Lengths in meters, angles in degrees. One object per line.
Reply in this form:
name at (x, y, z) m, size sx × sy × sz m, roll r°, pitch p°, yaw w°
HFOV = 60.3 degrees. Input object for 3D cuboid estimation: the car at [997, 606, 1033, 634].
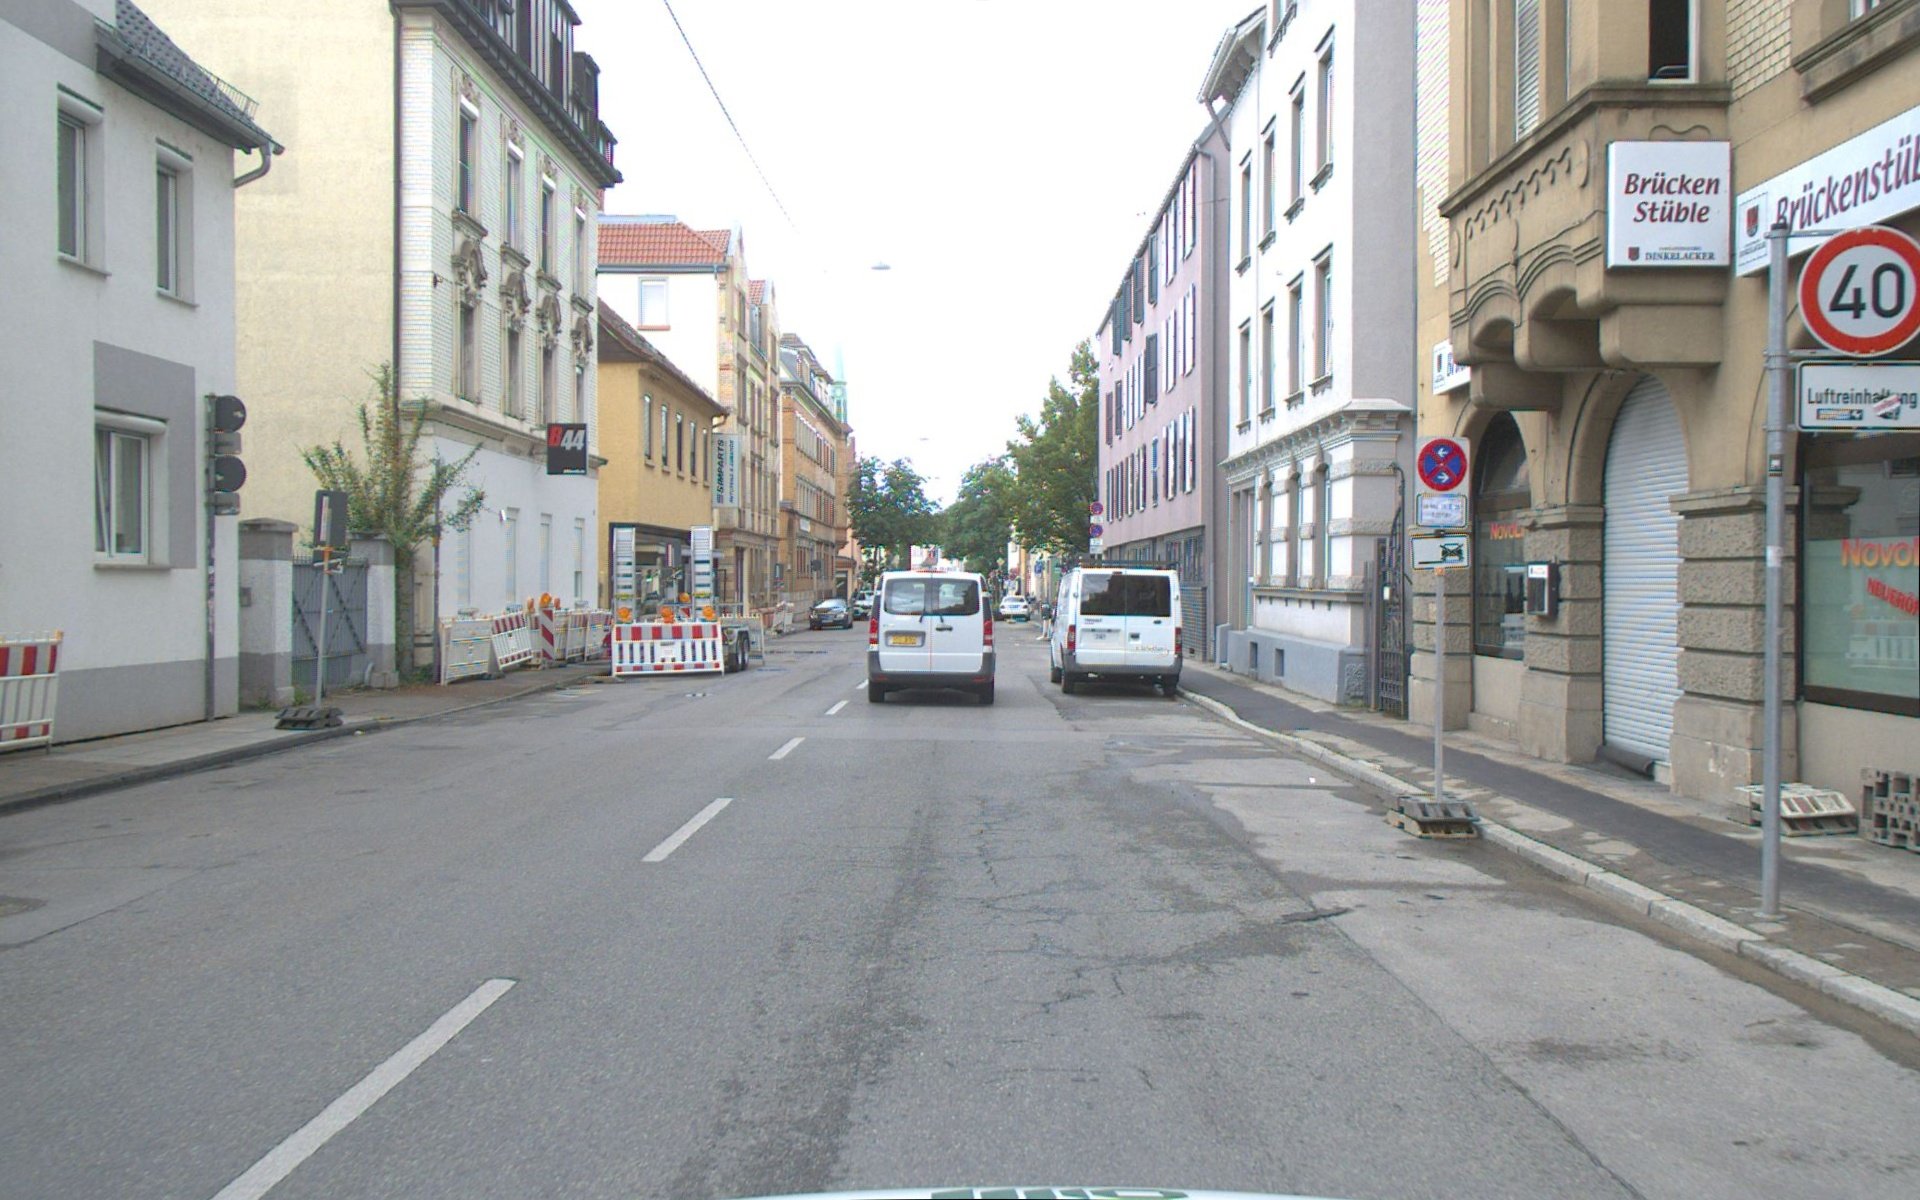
car at (3.287, 1.198, 99.392) m, size 1.953 × 1.511 × 3.999 m, roll 3°, pitch 0°, yaw 0°

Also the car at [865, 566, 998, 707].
car at (-0.372, 0.525, 25.380) m, size 1.852 × 1.962 × 4.645 m, roll 0°, pitch 0°, yaw 1°

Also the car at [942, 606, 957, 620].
car at (-1.307, 1.561, 201.970) m, size 1.718 × 1.702 × 3.669 m, roll 0°, pitch -1°, yaw 1°

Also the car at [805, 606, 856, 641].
car at (-5.815, 1.045, 74.578) m, size 1.953 × 1.467 × 3.999 m, roll -1°, pitch 0°, yaw 0°

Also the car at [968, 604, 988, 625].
car at (1.843, 1.492, 170.742) m, size 1.952 × 2.049 × 4.000 m, roll -1°, pitch -1°, yaw 2°

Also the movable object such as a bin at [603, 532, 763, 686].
movable object such as a bin at (-5.604, 0.183, 34.127) m, size 2.485 × 2.875 × 4.538 m, roll -2°, pitch 0°, yaw 0°

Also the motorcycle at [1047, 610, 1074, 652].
motorcycle at (3.128, 0.952, 51.384) m, size 0.630 × 1.268 × 2.270 m, roll 0°, pitch 0°, yaw 9°

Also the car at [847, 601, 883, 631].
car at (-5.722, 0.950, 99.527) m, size 1.953 × 1.772 × 3.999 m, roll 0°, pitch 0°, yaw 0°

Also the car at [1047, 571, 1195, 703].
car at (2.686, 0.604, 28.762) m, size 2.085 × 2.040 × 4.926 m, roll 1°, pitch 0°, yaw 0°
